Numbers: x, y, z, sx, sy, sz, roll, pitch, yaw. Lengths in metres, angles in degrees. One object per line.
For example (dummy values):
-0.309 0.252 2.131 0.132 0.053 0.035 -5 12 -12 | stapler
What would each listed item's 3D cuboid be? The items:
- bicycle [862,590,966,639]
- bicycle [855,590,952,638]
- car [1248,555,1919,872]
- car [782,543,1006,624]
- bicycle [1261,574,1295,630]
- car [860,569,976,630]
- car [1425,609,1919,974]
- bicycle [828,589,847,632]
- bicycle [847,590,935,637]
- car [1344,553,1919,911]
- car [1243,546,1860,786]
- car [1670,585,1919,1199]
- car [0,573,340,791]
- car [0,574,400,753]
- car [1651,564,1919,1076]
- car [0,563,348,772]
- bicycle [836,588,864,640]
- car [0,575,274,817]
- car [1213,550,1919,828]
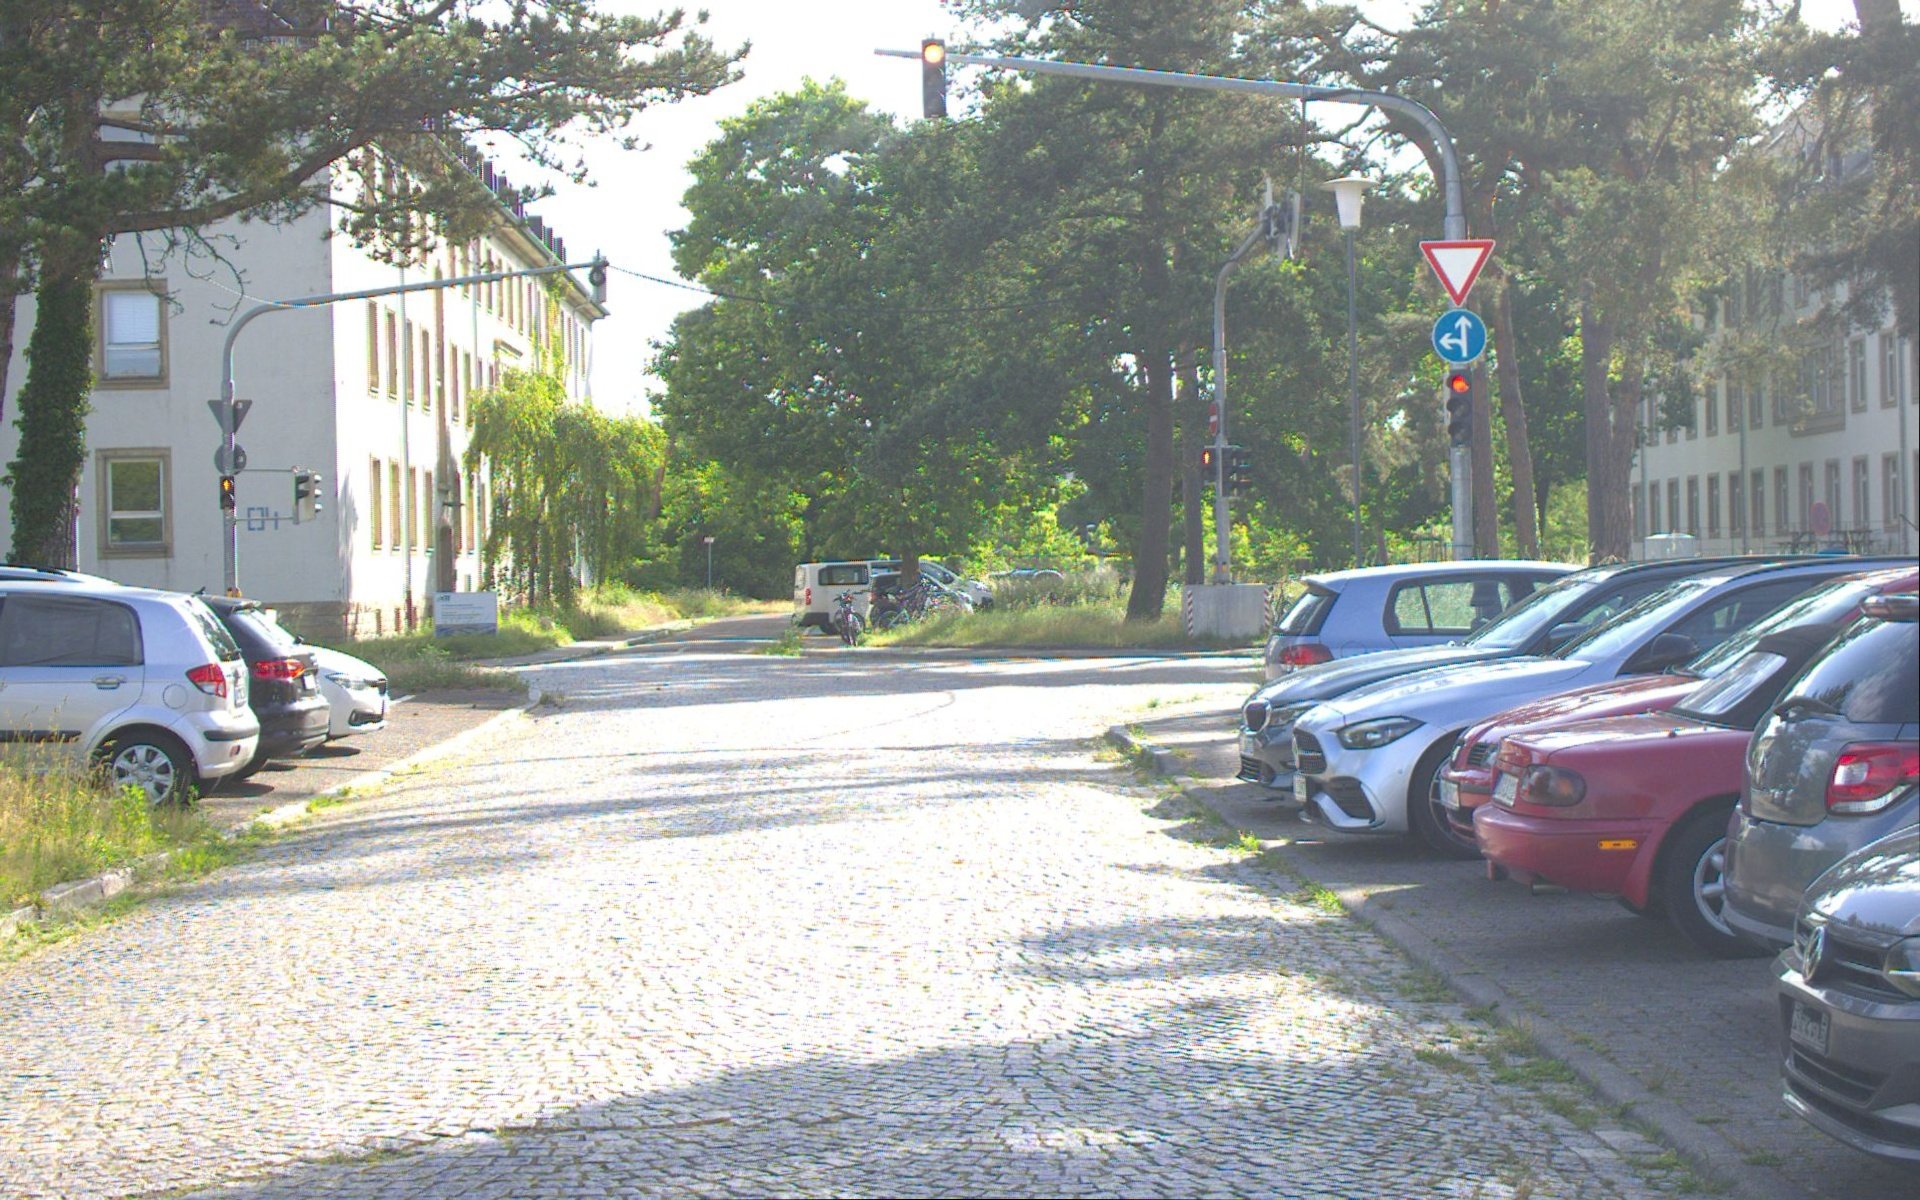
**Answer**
-0.976 0.305 72.445 2.108 1.007 0.621 1 0 -9 | bicycle
-1.224 0.304 74.074 2.004 1.007 0.632 1 0 -9 | bicycle
3.840 0.538 18.072 4.432 1.410 1.781 -3 1 -1 | car
-1.735 -0.415 90.415 5.520 2.007 2.001 1 0 -19 | car
5.577 0.032 60.378 0.300 0.957 1.586 1 0 -5 | bicycle
-1.078 -0.016 86.841 2.781 1.462 1.671 1 0 -6 | car
3.842 0.674 13.589 3.707 1.219 1.746 -3 1 -1 | car
-2.920 0.253 81.987 0.417 1.007 1.483 1 0 -1 | bicycle
-1.524 0.302 75.825 1.837 1.007 0.636 1 0 -9 | bicycle
3.978 0.542 15.991 4.127 1.444 1.637 -3 1 -1 | car
3.983 0.424 23.570 3.882 1.410 1.637 -3 1 -1 | car
3.756 0.645 8.117 3.707 1.444 1.856 -3 1 -1 | car
-6.640 0.561 25.067 3.986 1.475 1.803 1 1 -4 | car
-7.225 0.533 30.354 4.333 1.463 1.831 1 1 -4 | car
4.286 0.572 10.994 3.707 1.444 1.816 -3 1 -1 | car
-7.147 0.515 27.930 4.079 1.588 1.886 1 1 -4 | car
-2.202 0.280 68.747 0.467 1.007 1.586 1 0 -5 | bicycle
-6.492 0.586 22.471 3.745 1.482 1.646 1 1 -4 | car
3.904 0.503 20.789 4.559 1.410 1.637 -3 1 -1 | car
